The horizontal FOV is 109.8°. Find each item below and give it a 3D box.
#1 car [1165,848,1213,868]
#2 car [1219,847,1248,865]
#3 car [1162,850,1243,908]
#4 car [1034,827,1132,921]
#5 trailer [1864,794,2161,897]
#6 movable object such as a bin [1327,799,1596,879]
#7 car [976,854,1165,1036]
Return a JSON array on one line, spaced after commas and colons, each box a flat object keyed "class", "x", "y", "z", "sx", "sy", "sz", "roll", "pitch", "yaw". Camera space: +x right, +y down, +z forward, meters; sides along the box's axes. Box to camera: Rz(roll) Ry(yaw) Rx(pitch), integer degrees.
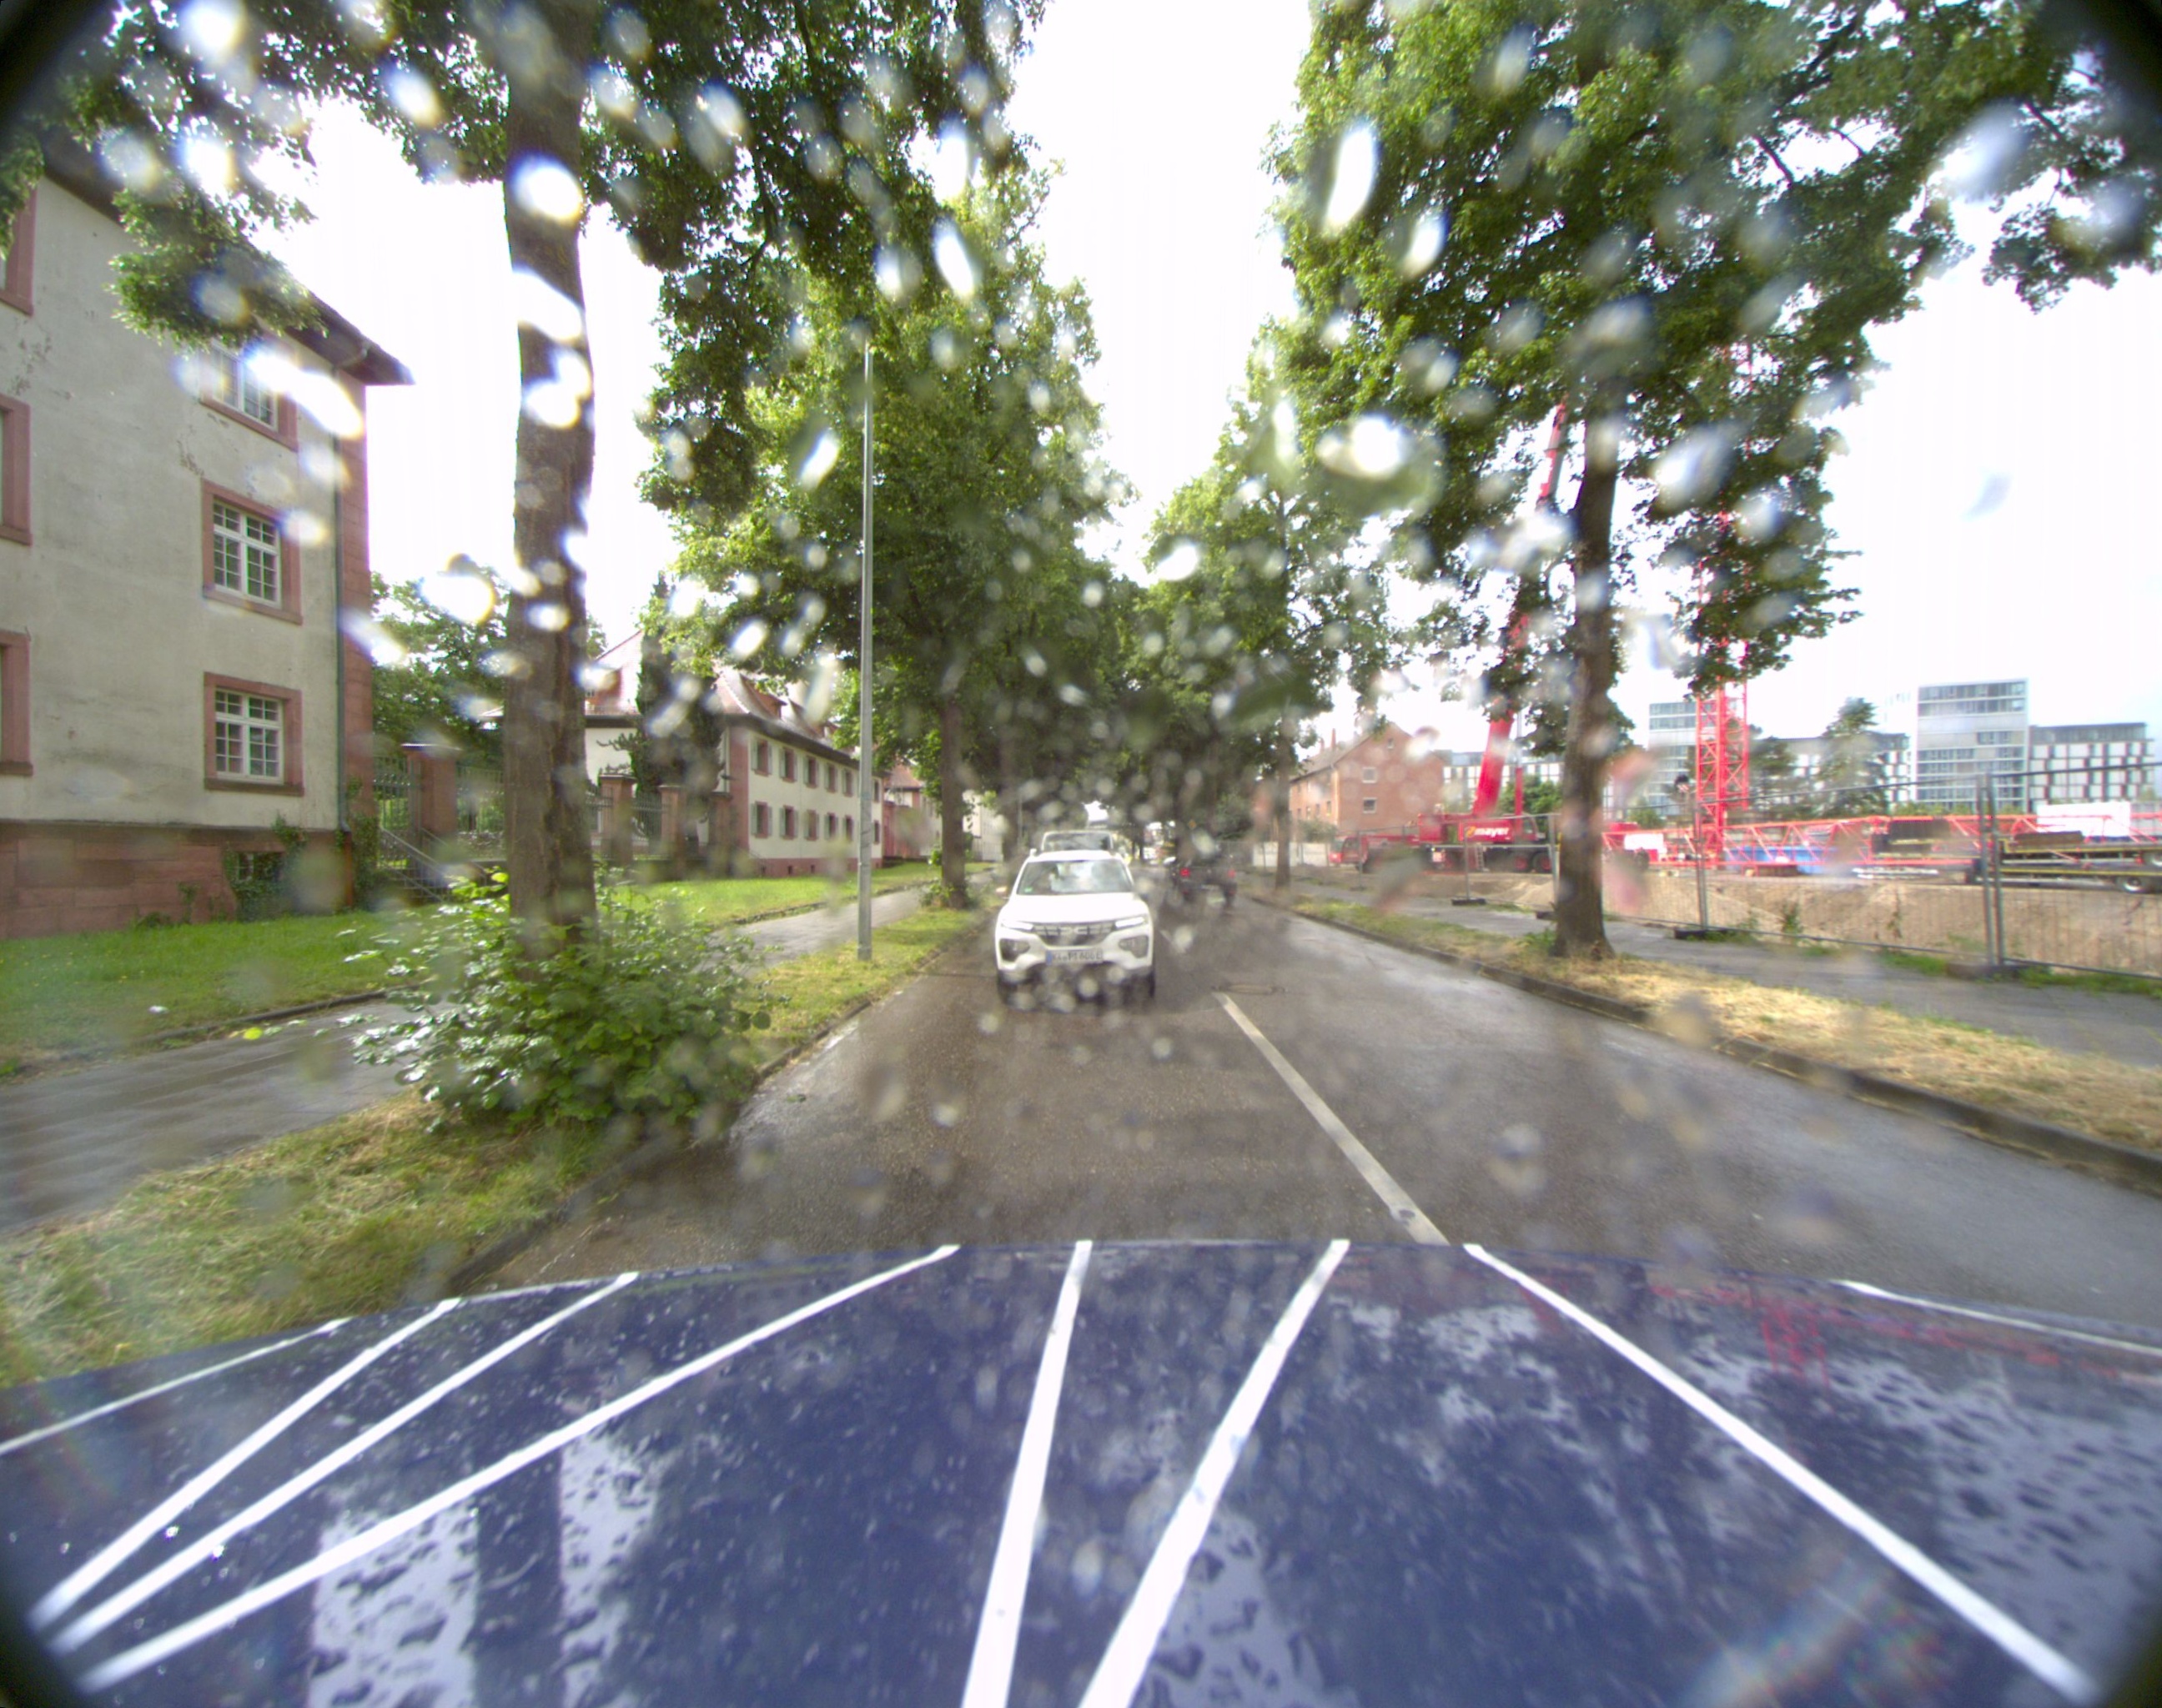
[{"class": "car", "x": 9.162, "y": 0.349, "z": 64.912, "sx": 3.869, "sy": 1.543, "sz": 1.698, "roll": -2, "pitch": 1, "yaw": 2}, {"class": "car", "x": 13.912, "y": 0.143, "z": 69.547, "sx": 1.693, "sy": 1.521, "sz": 3.998, "roll": -2, "pitch": 1, "yaw": -1}, {"class": "car", "x": 3.470, "y": 0.691, "z": 22.306, "sx": 1.818, "sy": 1.531, "sz": 3.983, "roll": 0, "pitch": -1, "yaw": 1}, {"class": "car", "x": -0.014, "y": 0.389, "z": 19.532, "sx": 2.107, "sy": 1.990, "sz": 5.432, "roll": -2, "pitch": 1, "yaw": -1}, {"class": "trailer", "x": 35.867, "y": -0.373, "z": 26.182, "sx": 2.968, "sy": 3.214, "sz": 14.307, "roll": -4, "pitch": 1, "yaw": 0}, {"class": "movable object such as a bin", "x": 24.877, "y": -0.960, "z": 50.418, "sx": 15.941, "sy": 4.532, "sz": 3.101, "roll": -2, "pitch": 2, "yaw": 4}, {"class": "car", "x": -0.059, "y": 0.801, "z": 8.655, "sx": 1.608, "sy": 1.499, "sz": 4.000, "roll": -2, "pitch": 1, "yaw": 1}]
